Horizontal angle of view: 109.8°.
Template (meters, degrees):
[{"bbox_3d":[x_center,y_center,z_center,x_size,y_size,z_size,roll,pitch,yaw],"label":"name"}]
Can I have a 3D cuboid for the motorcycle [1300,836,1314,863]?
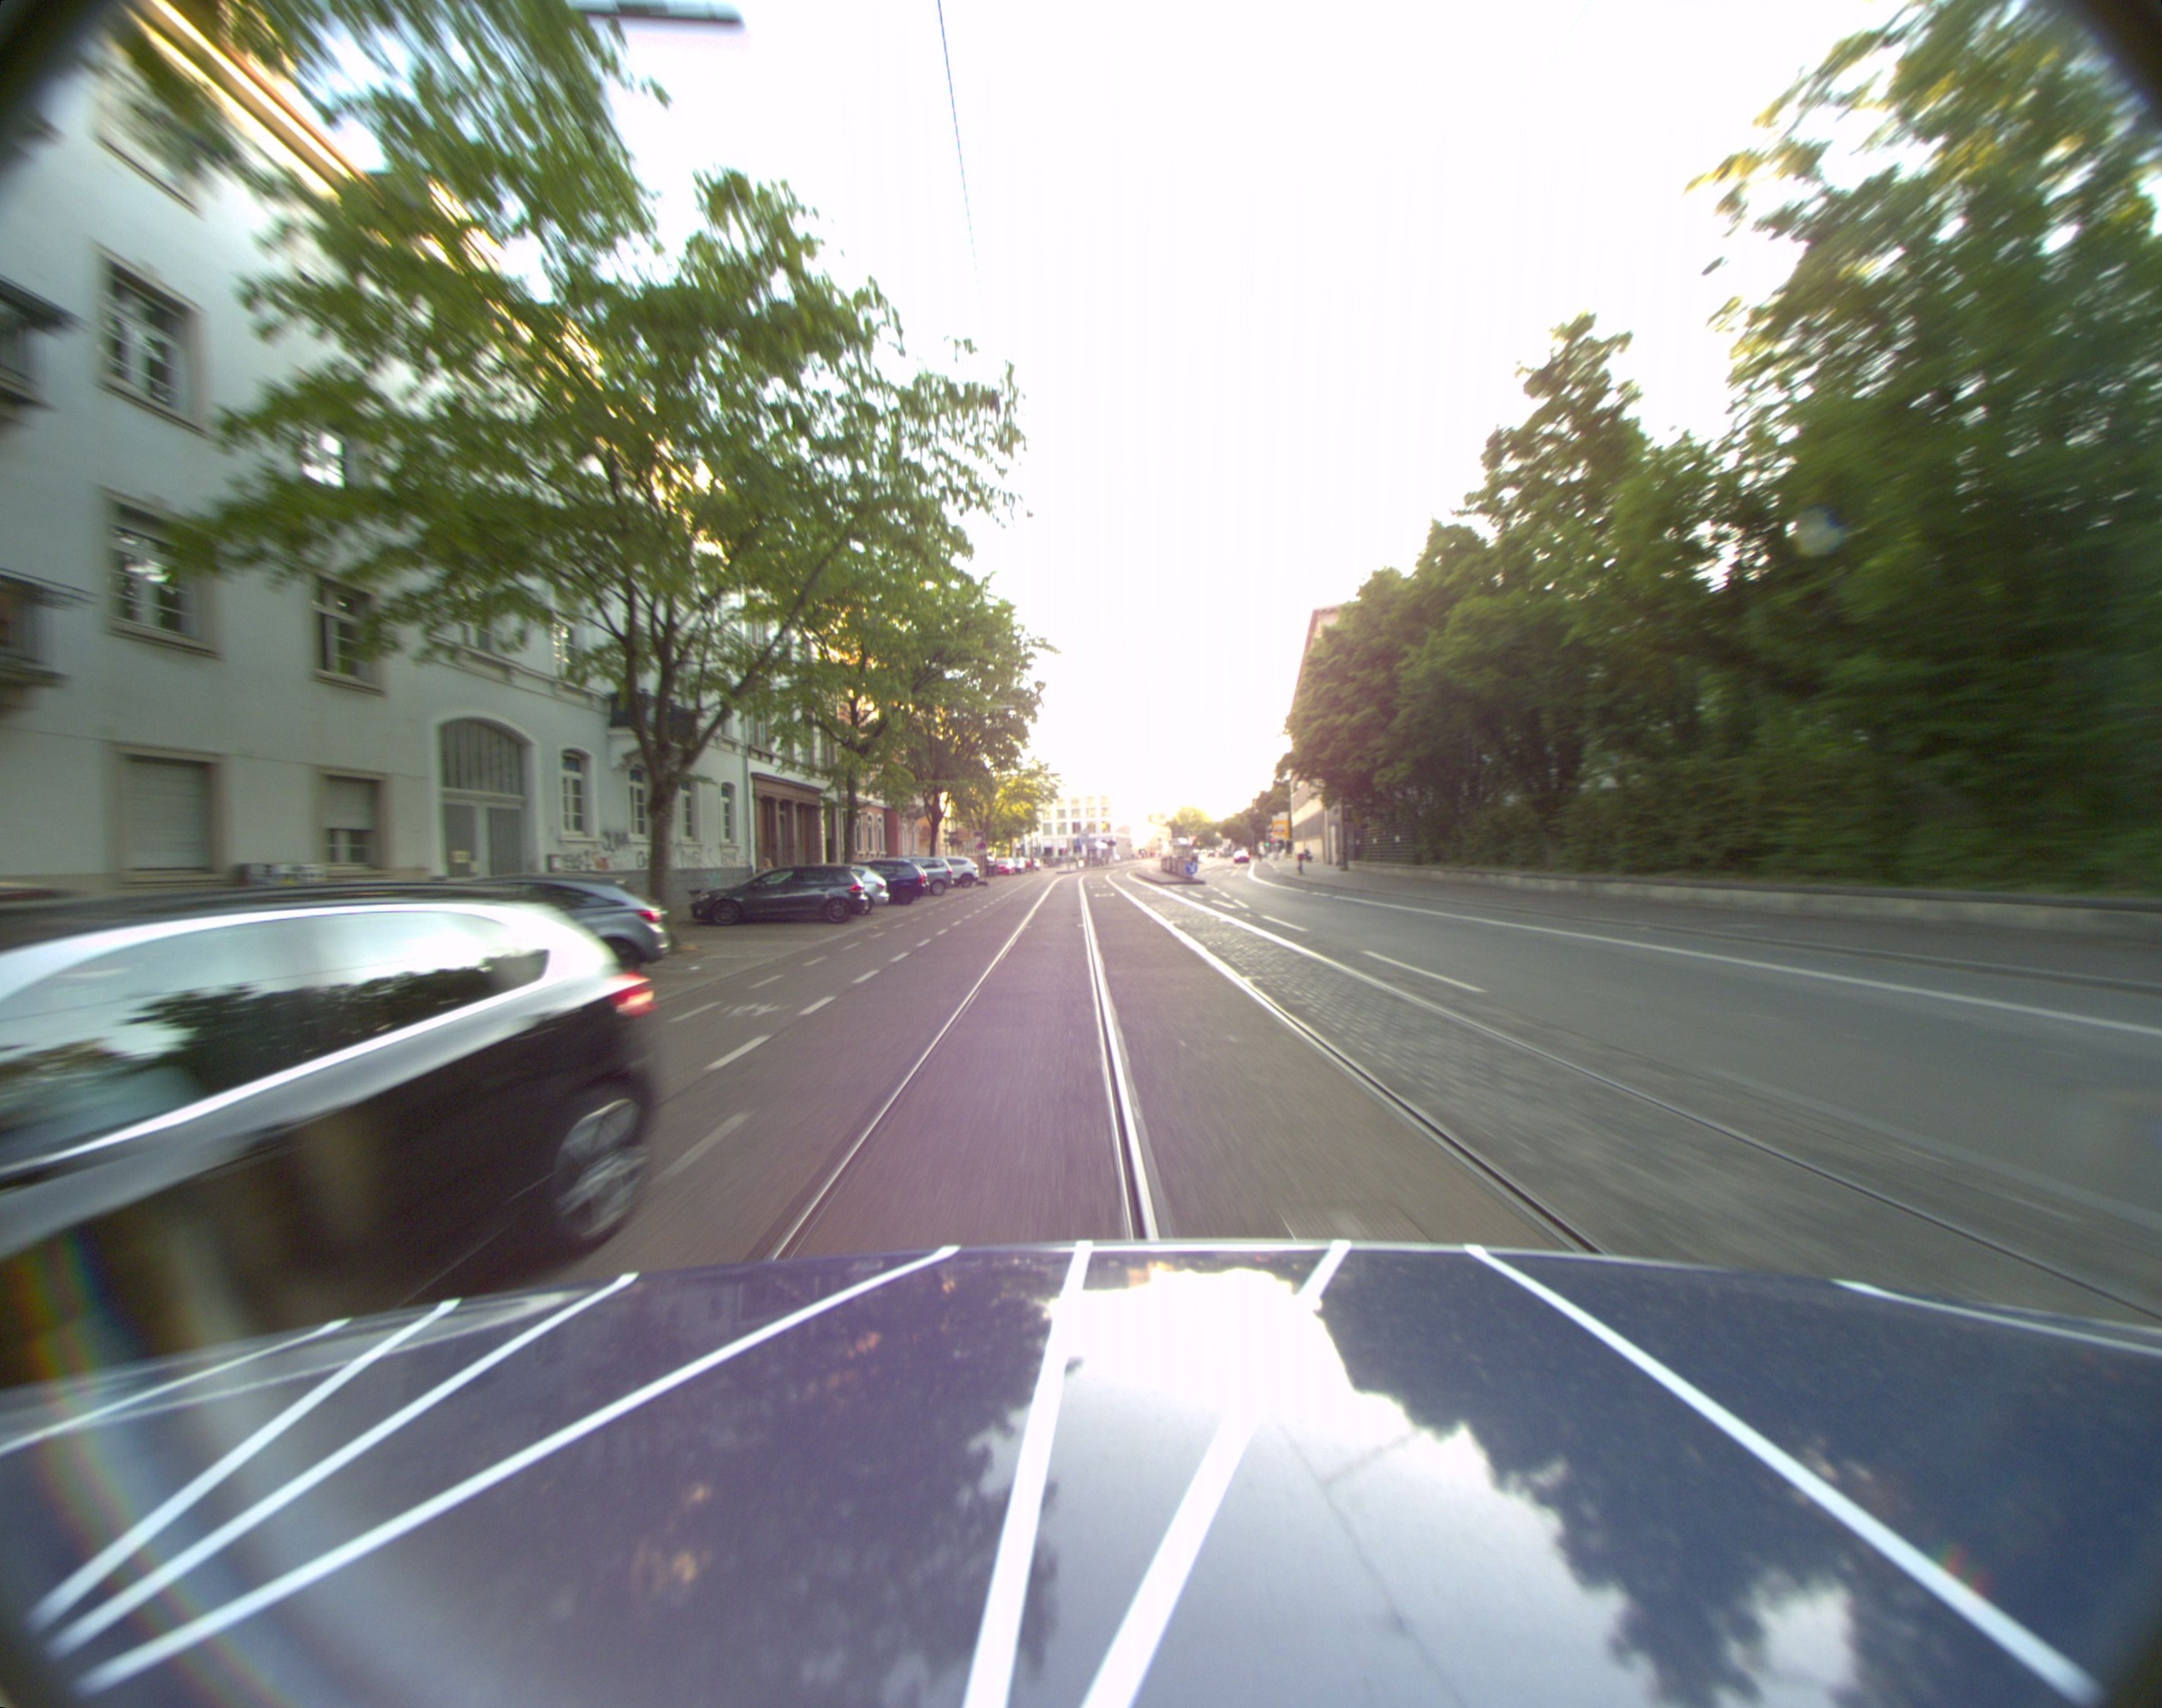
[{"bbox_3d":[20.680,-0.427,69.554,1.022,2.429,2.670,-2,1,15],"label":"motorcycle"}]

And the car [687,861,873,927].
[{"bbox_3d":[-7.483,0.950,19.288,4.214,1.494,1.741,0,0,-17],"label":"car"}]

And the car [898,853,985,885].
[{"bbox_3d":[-7.387,0.780,40.283,4.218,1.600,1.739,0,0,-29],"label":"car"}]

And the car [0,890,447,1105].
[{"bbox_3d":[-7.870,1.126,6.510,3.581,1.402,1.517,-2,1,-35],"label":"car"}]

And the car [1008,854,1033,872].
[{"bbox_3d":[-5.809,0.805,73.065,1.741,1.600,3.822,-2,0,4],"label":"car"}]

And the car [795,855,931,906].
[{"bbox_3d":[-7.455,0.844,26.073,4.218,1.600,1.699,0,0,-29],"label":"car"}]

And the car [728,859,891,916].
[{"bbox_3d":[-7.622,0.901,21.676,4.214,1.494,1.741,0,0,-17],"label":"car"}]

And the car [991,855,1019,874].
[{"bbox_3d":[-6.687,0.919,67.053,1.741,1.600,3.823,0,0,4],"label":"car"}]

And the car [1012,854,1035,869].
[{"bbox_3d":[-6.382,0.823,84.705,1.953,1.600,4.272,-2,0,4],"label":"car"}]

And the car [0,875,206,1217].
[{"bbox_3d":[-7.500,1.011,3.515,4.125,1.631,1.740,-2,1,-27],"label":"car"}]

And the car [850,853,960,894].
[{"bbox_3d":[-7.443,0.778,32.179,4.218,1.600,1.739,0,0,-29],"label":"car"}]

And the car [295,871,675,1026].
[{"bbox_3d":[-7.246,1.055,9.701,3.580,1.536,1.381,-2,1,-29],"label":"car"}]

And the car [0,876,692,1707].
[{"bbox_3d":[-2.859,1.011,1.550,1.840,1.631,4.168,-5,0,0],"label":"car"}]

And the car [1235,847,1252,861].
[{"bbox_3d":[21.093,0.018,98.805,1.997,1.674,4.003,-1,0,9],"label":"car"}]
